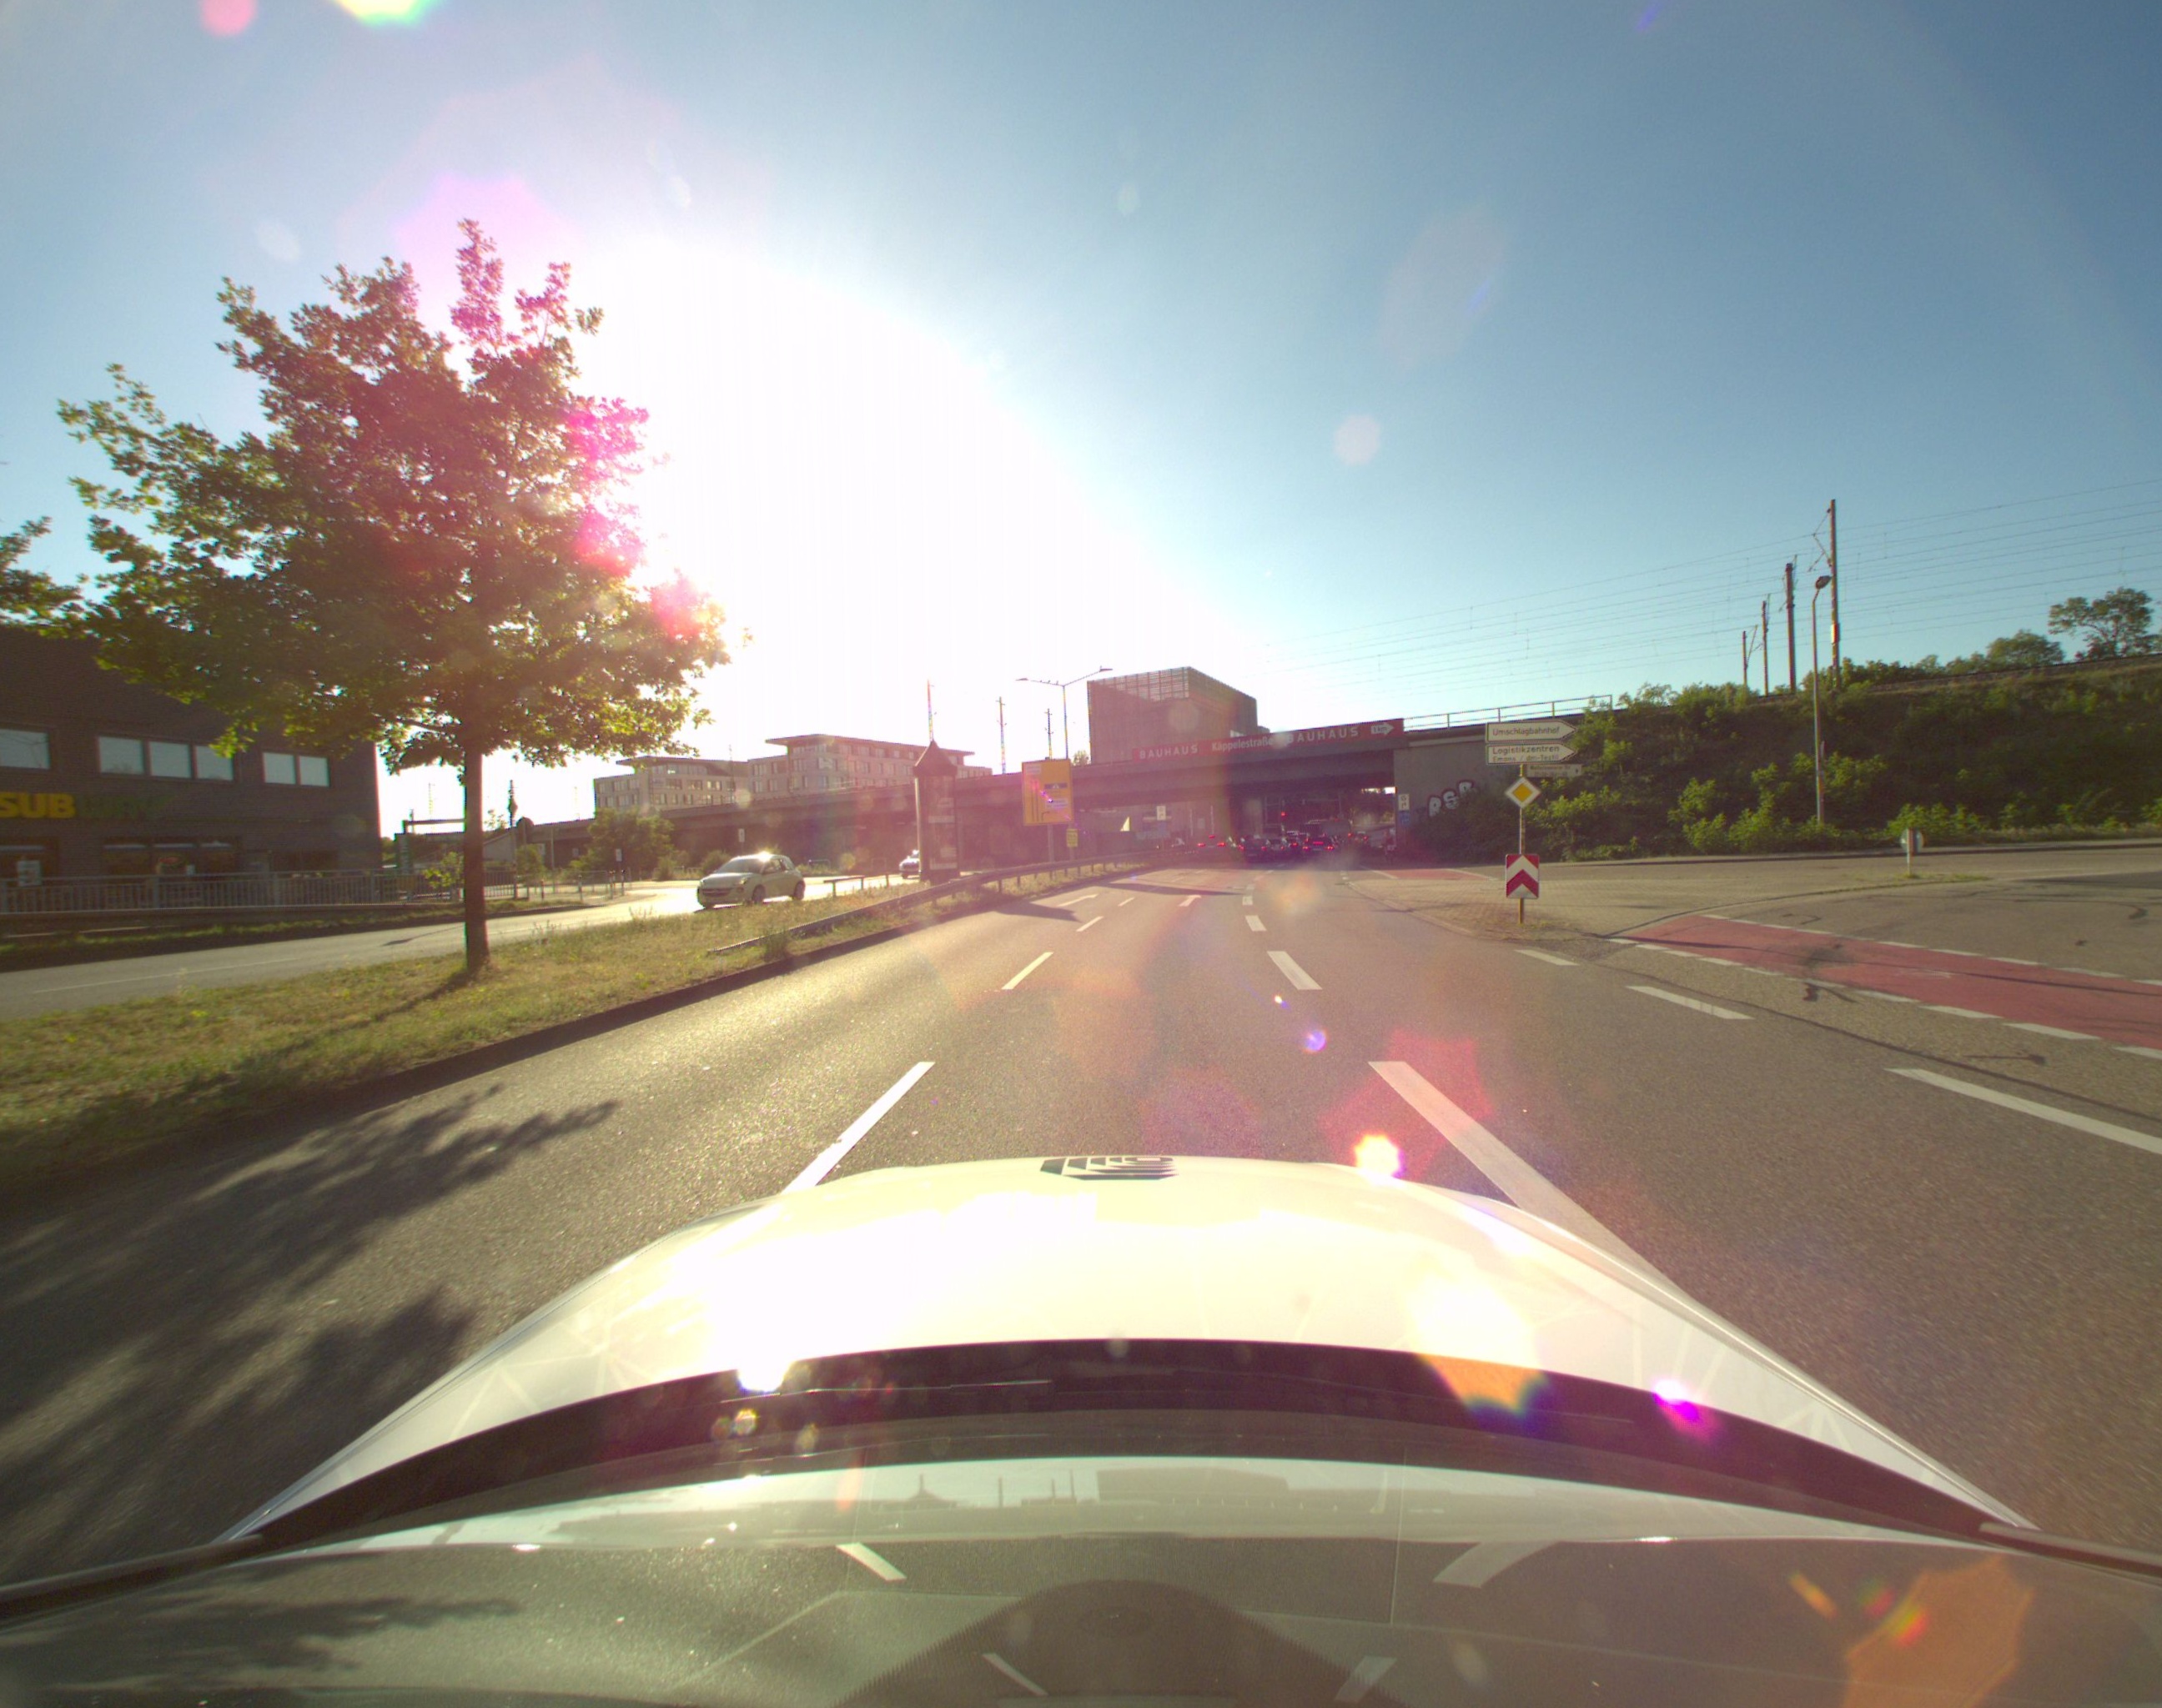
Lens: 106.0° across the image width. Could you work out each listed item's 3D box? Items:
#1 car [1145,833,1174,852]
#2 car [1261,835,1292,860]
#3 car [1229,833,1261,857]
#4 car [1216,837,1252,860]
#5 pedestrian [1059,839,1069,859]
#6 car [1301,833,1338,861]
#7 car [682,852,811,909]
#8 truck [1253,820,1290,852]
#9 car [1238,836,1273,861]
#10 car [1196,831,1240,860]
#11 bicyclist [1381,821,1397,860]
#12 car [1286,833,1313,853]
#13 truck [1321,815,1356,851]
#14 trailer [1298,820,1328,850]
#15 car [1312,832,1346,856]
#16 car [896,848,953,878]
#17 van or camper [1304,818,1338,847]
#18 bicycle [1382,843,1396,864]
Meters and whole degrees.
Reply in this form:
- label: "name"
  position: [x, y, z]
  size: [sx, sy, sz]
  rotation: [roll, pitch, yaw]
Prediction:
- label: "car"
  position: [7.665, -1.097, 78.854]
  size: [1.831, 1.603, 4.414]
  rotation: [-5, -1, 17]
- label: "car"
  position: [12.897, -0.465, 53.667]
  size: [1.534, 1.423, 3.434]
  rotation: [-5, 0, 20]
- label: "car"
  position: [12.938, -0.710, 63.970]
  size: [1.826, 1.719, 4.019]
  rotation: [-5, -1, 18]
- label: "car"
  position: [10.985, -0.443, 58.254]
  size: [1.826, 1.440, 3.694]
  rotation: [-5, -1, 20]
- label: "pedestrian"
  position: [-1.687, -0.511, 81.543]
  size: [0.687, 1.903, 0.669]
  rotation: [-2, 0, 25]
- label: "car"
  position: [14.055, -0.430, 47.811]
  size: [1.726, 1.454, 4.630]
  rotation: [-1, 2, 21]
- label: "car"
  position: [-9.717, 0.725, 23.962]
  size: [1.730, 1.462, 3.775]
  rotation: [-3, -1, 9]
- label: "truck"
  position: [16.599, -1.561, 70.816]
  size: [2.010, 2.556, 5.569]
  rotation: [-2, 0, 24]
- label: "car"
  position: [10.516, -0.356, 48.946]
  size: [1.568, 1.408, 3.851]
  rotation: [-1, 0, 19]
- label: "car"
  position: [8.771, -0.539, 51.926]
  size: [1.814, 1.738, 4.485]
  rotation: [-2, 0, 21]
- label: "bicyclist"
  position: [15.078, -0.659, 39.879]
  size: [0.676, 1.907, 0.837]
  rotation: [-2, 0, 21]
- label: "car"
  position: [17.676, -0.876, 65.825]
  size: [1.567, 1.532, 3.853]
  rotation: [-1, 0, 23]
- label: "truck"
  position: [19.716, -1.611, 62.265]
  size: [2.093, 2.519, 4.425]
  rotation: [-3, 0, 22]
- label: "trailer"
  position: [20.393, -1.663, 71.547]
  size: [1.847, 2.465, 3.854]
  rotation: [-3, 0, 25]
- label: "car"
  position: [16.821, -0.669, 55.204]
  size: [1.757, 1.495, 3.853]
  rotation: [-3, 0, 23]
- label: "car"
  position: [-8.220, 0.468, 43.108]
  size: [1.663, 1.462, 4.115]
  rotation: [-2, 0, 9]
- label: "van or camper"
  position: [22.599, -2.027, 76.506]
  size: [1.975, 2.570, 5.954]
  rotation: [-2, 0, 27]
- label: "bicycle"
  position: [15.006, -0.027, 39.732]
  size: [0.574, 0.963, 2.901]
  rotation: [-2, 0, 20]
